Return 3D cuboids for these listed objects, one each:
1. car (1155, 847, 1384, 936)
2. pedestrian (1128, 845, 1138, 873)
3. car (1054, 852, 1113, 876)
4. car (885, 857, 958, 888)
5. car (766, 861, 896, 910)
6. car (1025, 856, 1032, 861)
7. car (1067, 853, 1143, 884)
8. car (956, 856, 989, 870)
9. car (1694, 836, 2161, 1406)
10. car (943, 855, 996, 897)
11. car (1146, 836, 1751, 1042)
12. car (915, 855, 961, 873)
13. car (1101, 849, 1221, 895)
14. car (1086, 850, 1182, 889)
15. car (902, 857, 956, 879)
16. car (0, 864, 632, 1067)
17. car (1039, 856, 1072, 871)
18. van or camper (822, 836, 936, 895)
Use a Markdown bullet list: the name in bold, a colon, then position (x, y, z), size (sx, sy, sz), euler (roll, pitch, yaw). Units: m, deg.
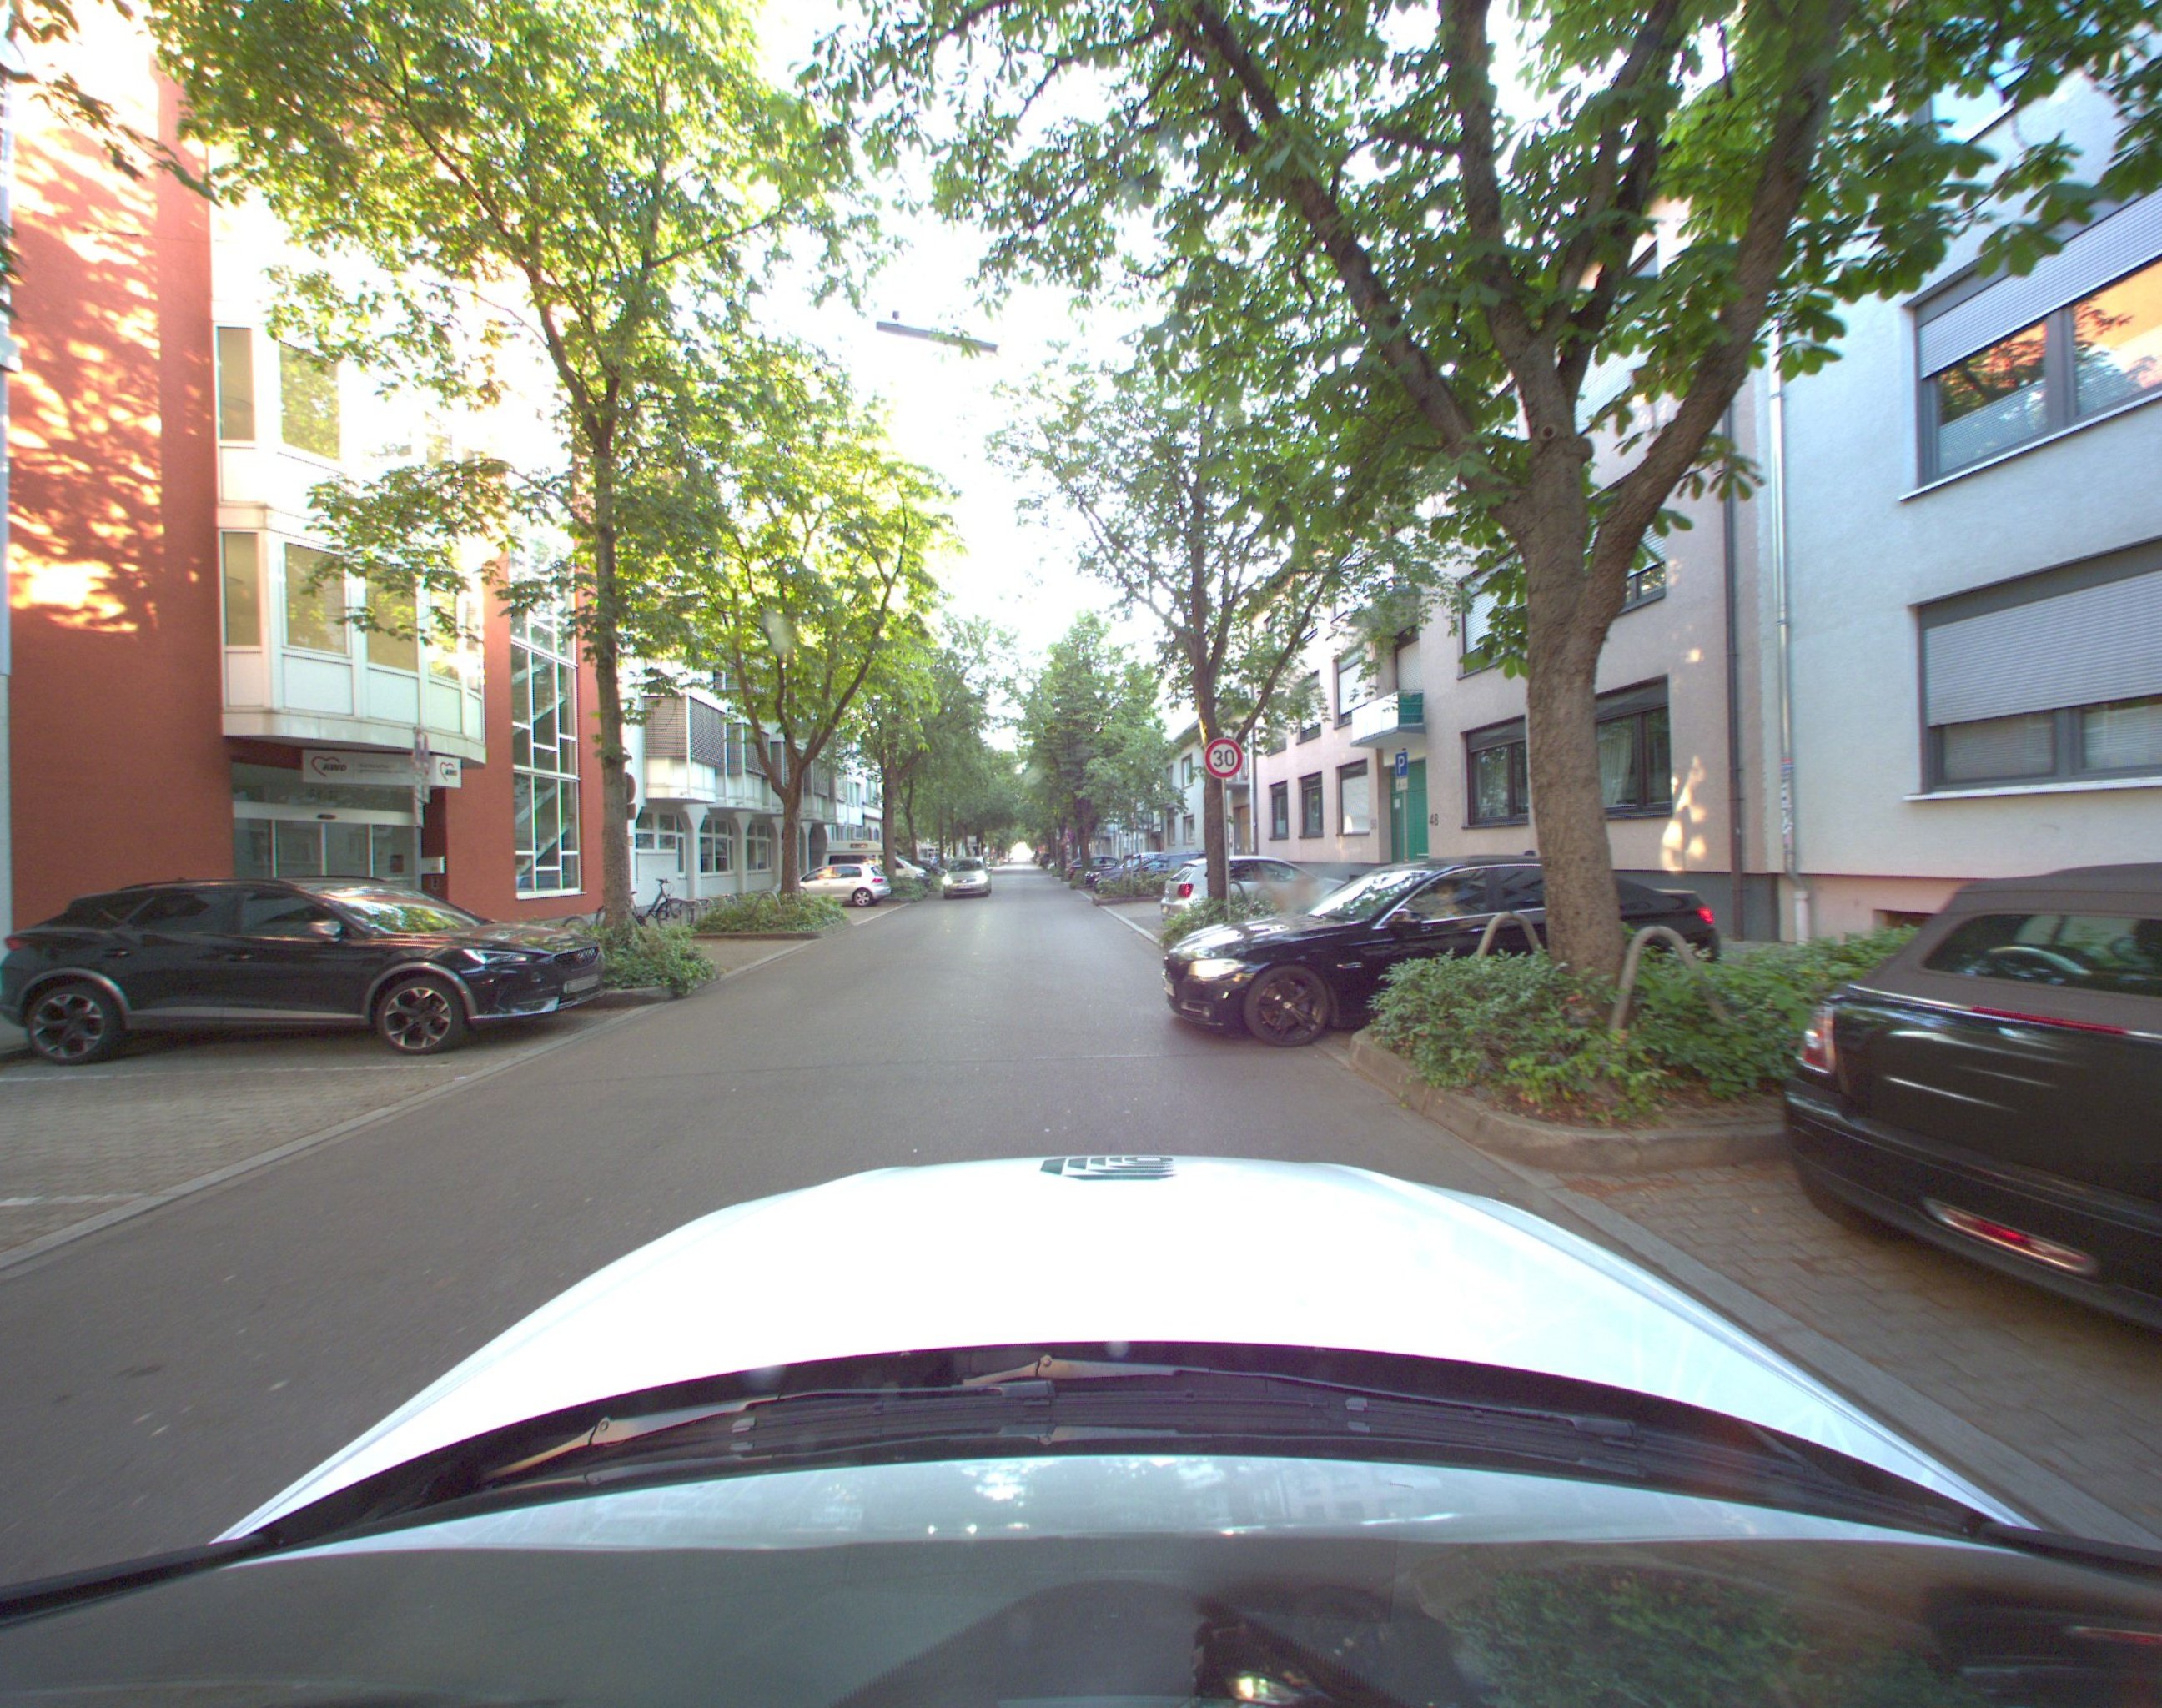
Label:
- **car**: position (3.506, 0.666, 15.528), size (3.904, 1.476, 1.661), euler (-2, 0, -6)
- **pedestrian**: position (3.825, 0.389, 59.630), size (0.587, 2.013, 0.669), euler (-2, 0, -3)
- **car**: position (0.150, 0.684, 56.423), size (3.962, 1.527, 1.781), euler (-2, 0, -6)
- **car**: position (-9.319, 1.077, 47.913), size (3.959, 1.619, 1.783), euler (-2, 0, -4)
- **car**: position (-8.688, 1.072, 28.570), size (3.959, 1.517, 1.783), euler (-2, 0, -4)
- **car**: position (-14.395, 1.209, 223.418), size (1.818, 1.531, 3.995), euler (-1, 0, -3)
- **car**: position (1.271, 0.758, 44.511), size (3.961, 1.527, 1.782), euler (-2, 0, -5)
- **car**: position (-13.585, 1.129, 102.090), size (3.959, 1.619, 1.783), euler (-2, 0, -3)
- **car**: position (4.348, 0.613, 2.672), size (3.608, 1.363, 1.660), euler (-2, 0, -8)
- **car**: position (-4.478, 0.855, 33.320), size (1.775, 1.562, 4.163), euler (-2, 0, -3)
- **car**: position (3.084, 0.658, 7.421), size (4.736, 1.480, 1.797), euler (-2, 0, -4)
- **car**: position (-13.320, 0.928, 76.135), size (3.959, 1.619, 1.783), euler (-2, 0, -3)
- **car**: position (2.818, 0.634, 29.160), size (3.963, 1.476, 1.781), euler (-2, 0, -6)
- **car**: position (2.276, 0.673, 35.662), size (3.961, 1.527, 1.782), euler (-2, 0, -5)
- **car**: position (-12.023, 1.118, 64.478), size (3.959, 1.619, 1.783), euler (-2, 0, -3)
- **car**: position (-6.990, 0.931, 7.746), size (4.346, 1.517, 1.782), euler (-2, 0, -5)
- **car**: position (-3.135, 1.118, 100.514), size (3.959, 1.684, 1.783), euler (-2, 0, -3)
- **van or camper**: position (-9.084, 0.509, 36.907), size (4.655, 2.478, 1.997), euler (-2, 0, -5)
